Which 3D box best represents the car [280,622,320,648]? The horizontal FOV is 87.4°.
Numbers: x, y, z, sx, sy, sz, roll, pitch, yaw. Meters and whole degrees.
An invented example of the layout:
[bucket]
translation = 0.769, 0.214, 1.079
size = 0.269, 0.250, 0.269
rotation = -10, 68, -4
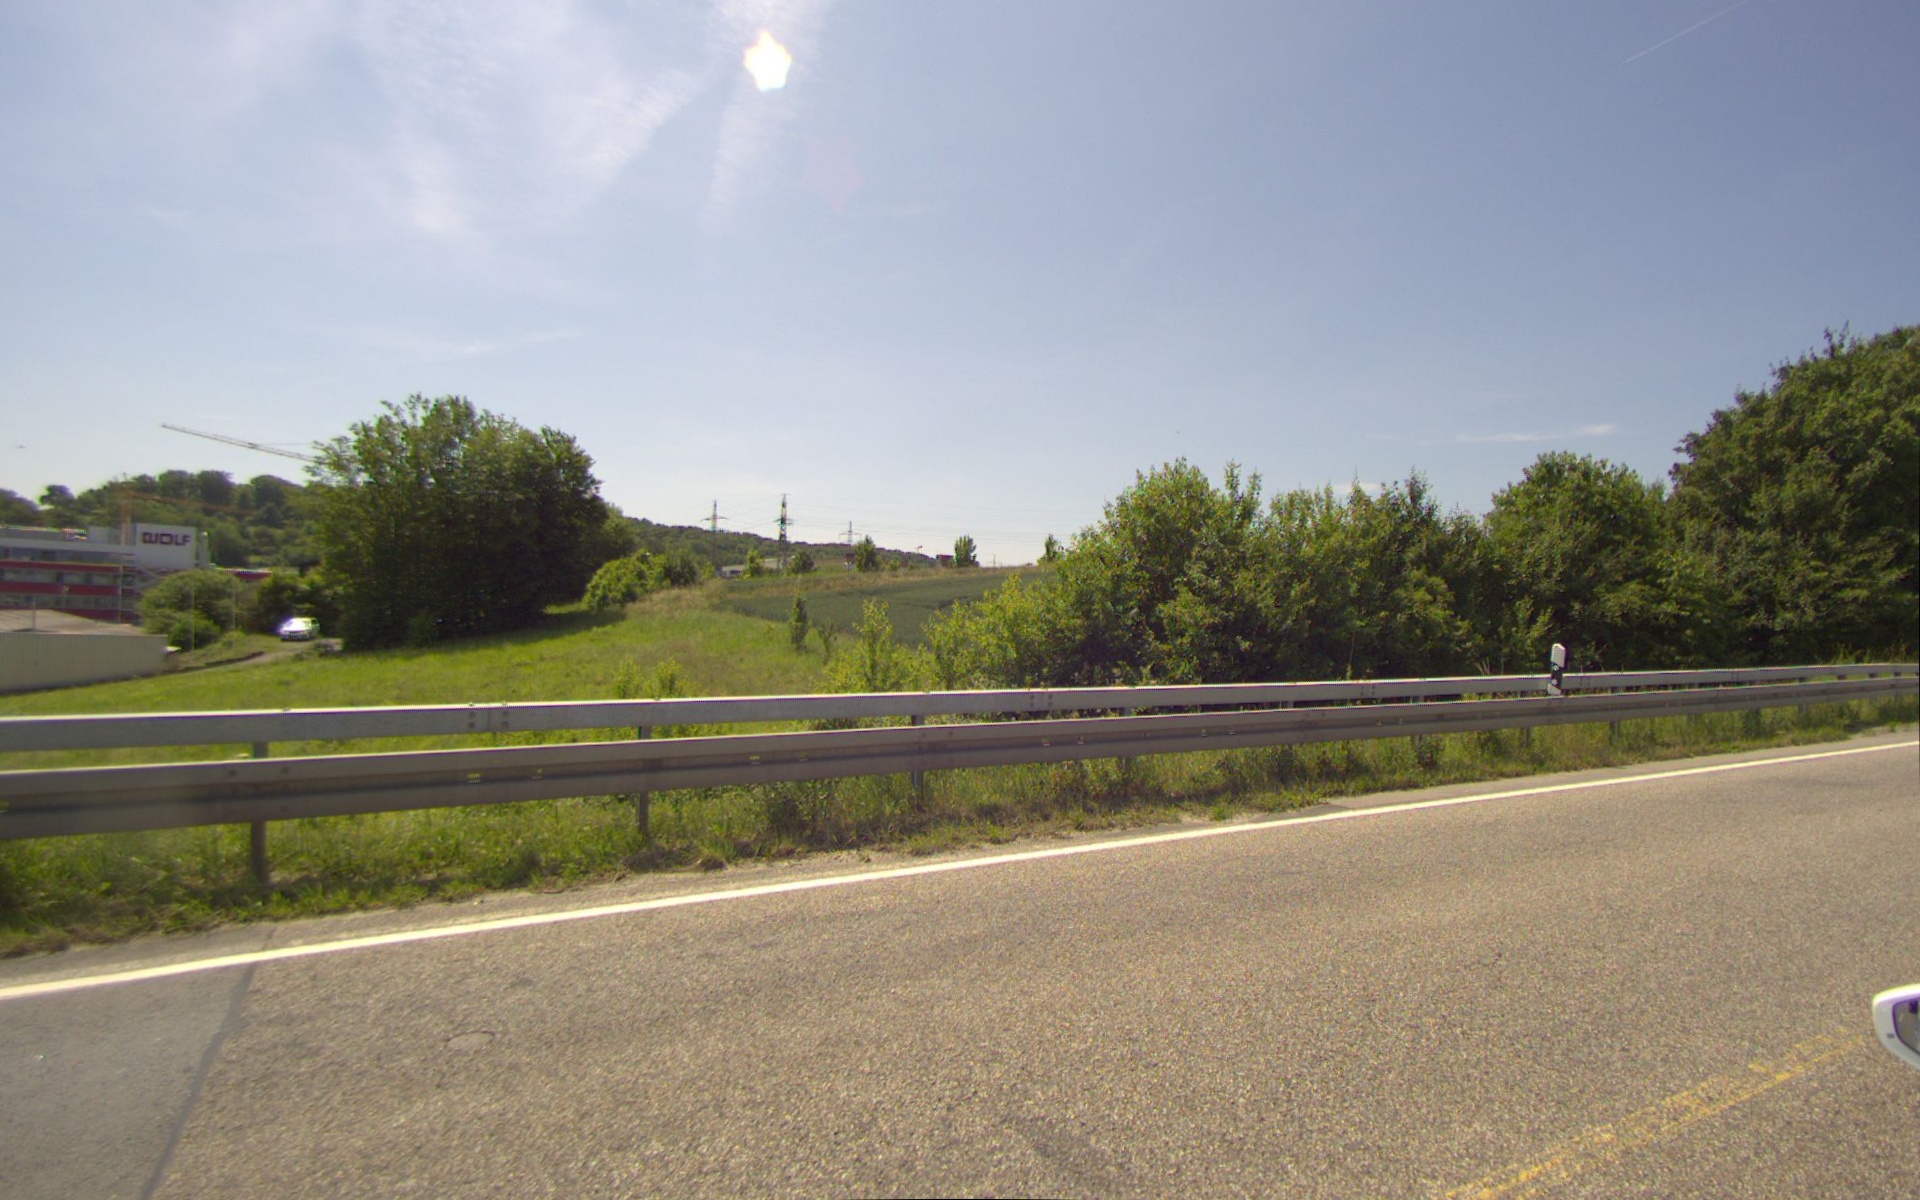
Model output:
[car]
translation = -46.844, 2.462, 71.358
size = 1.807, 1.625, 3.975
rotation = -1, 2, -25
